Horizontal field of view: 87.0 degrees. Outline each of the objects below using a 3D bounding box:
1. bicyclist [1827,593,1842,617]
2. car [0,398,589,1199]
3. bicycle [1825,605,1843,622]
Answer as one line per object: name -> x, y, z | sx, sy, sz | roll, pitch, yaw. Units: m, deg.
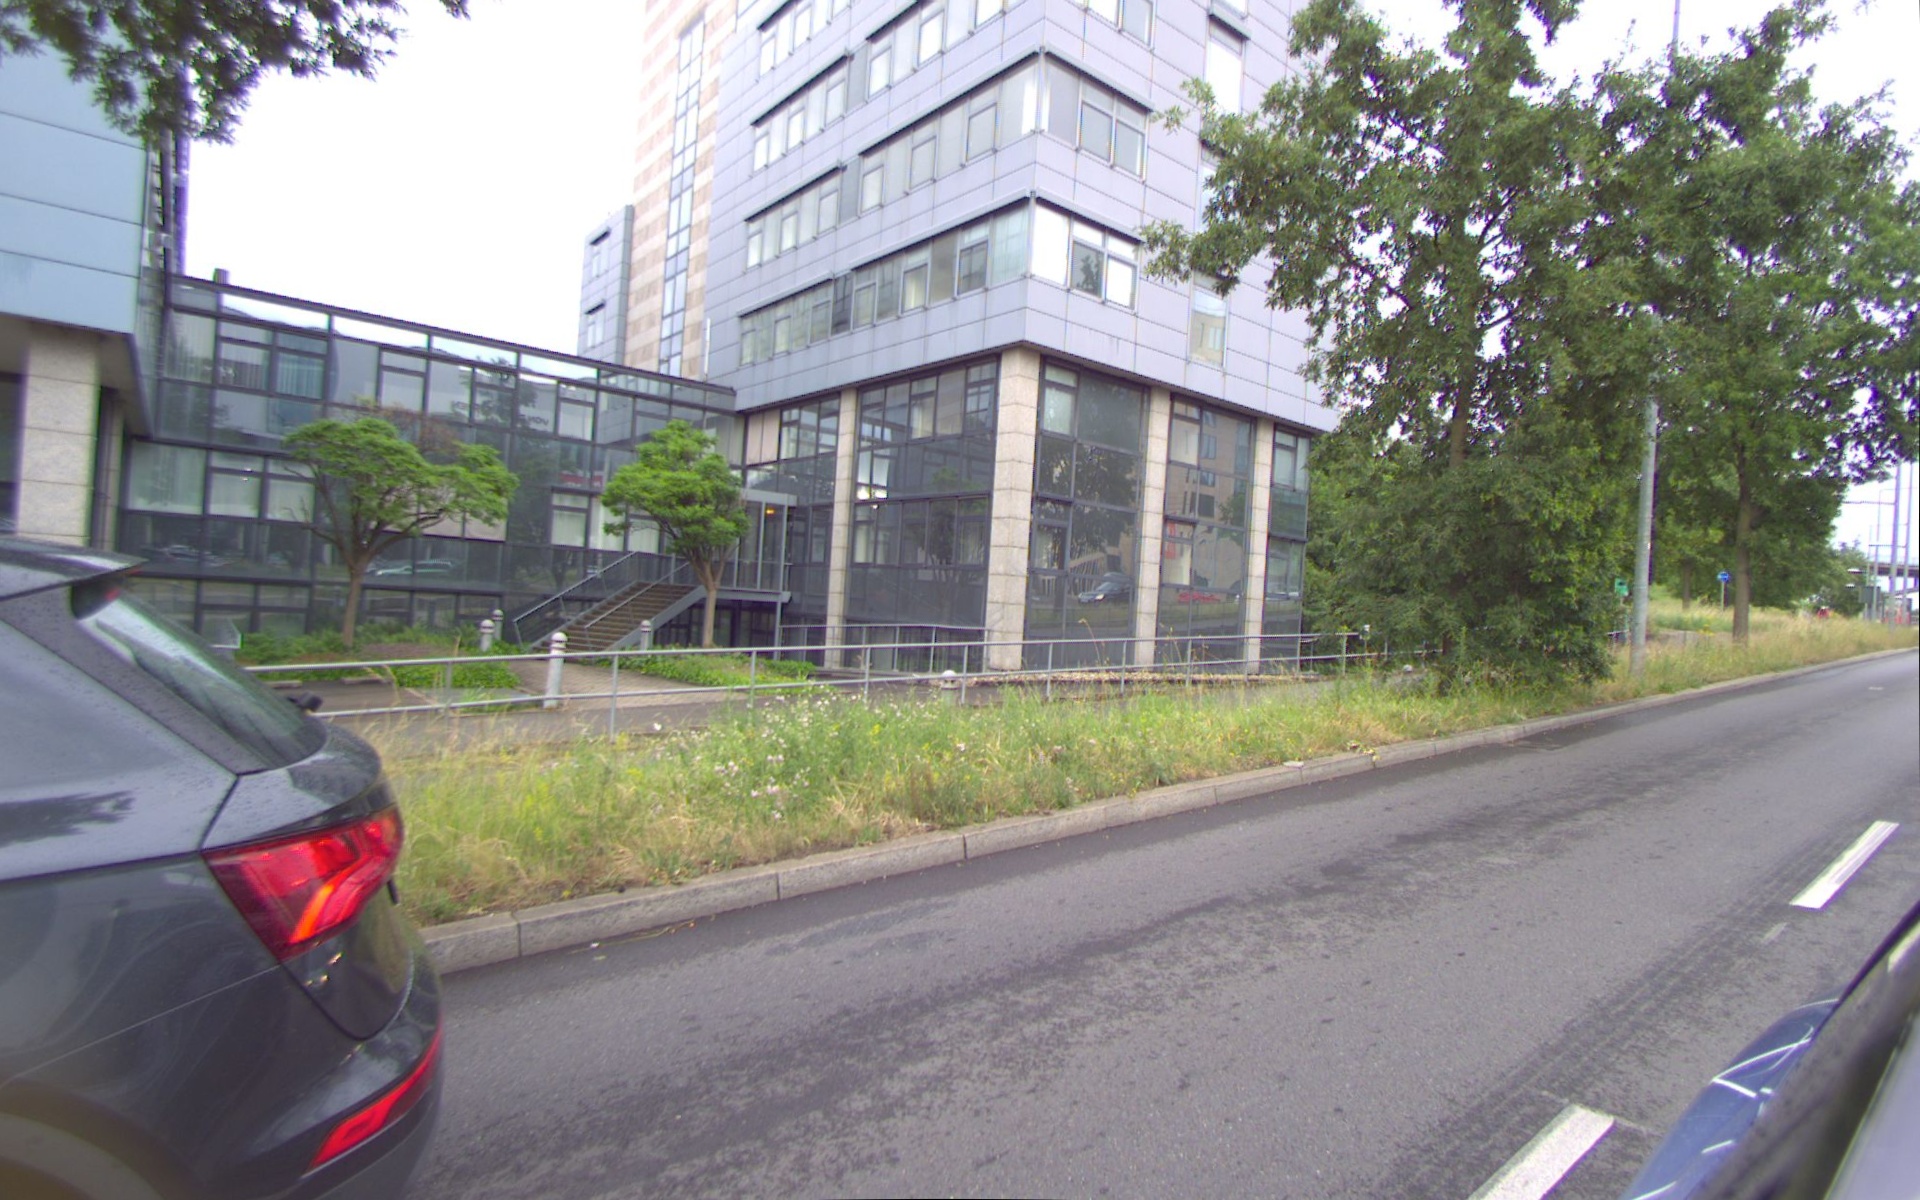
bicyclist -> 57.235, 0.338, 66.241 | 0.839, 1.599, 0.647 | 1, -1, -41
car -> -2.902, 0.539, 1.021 | 4.392, 1.633, 1.821 | 0, 1, -41
bicycle -> 57.221, 0.870, 66.250 | 1.872, 1.102, 0.581 | 1, -1, -41
